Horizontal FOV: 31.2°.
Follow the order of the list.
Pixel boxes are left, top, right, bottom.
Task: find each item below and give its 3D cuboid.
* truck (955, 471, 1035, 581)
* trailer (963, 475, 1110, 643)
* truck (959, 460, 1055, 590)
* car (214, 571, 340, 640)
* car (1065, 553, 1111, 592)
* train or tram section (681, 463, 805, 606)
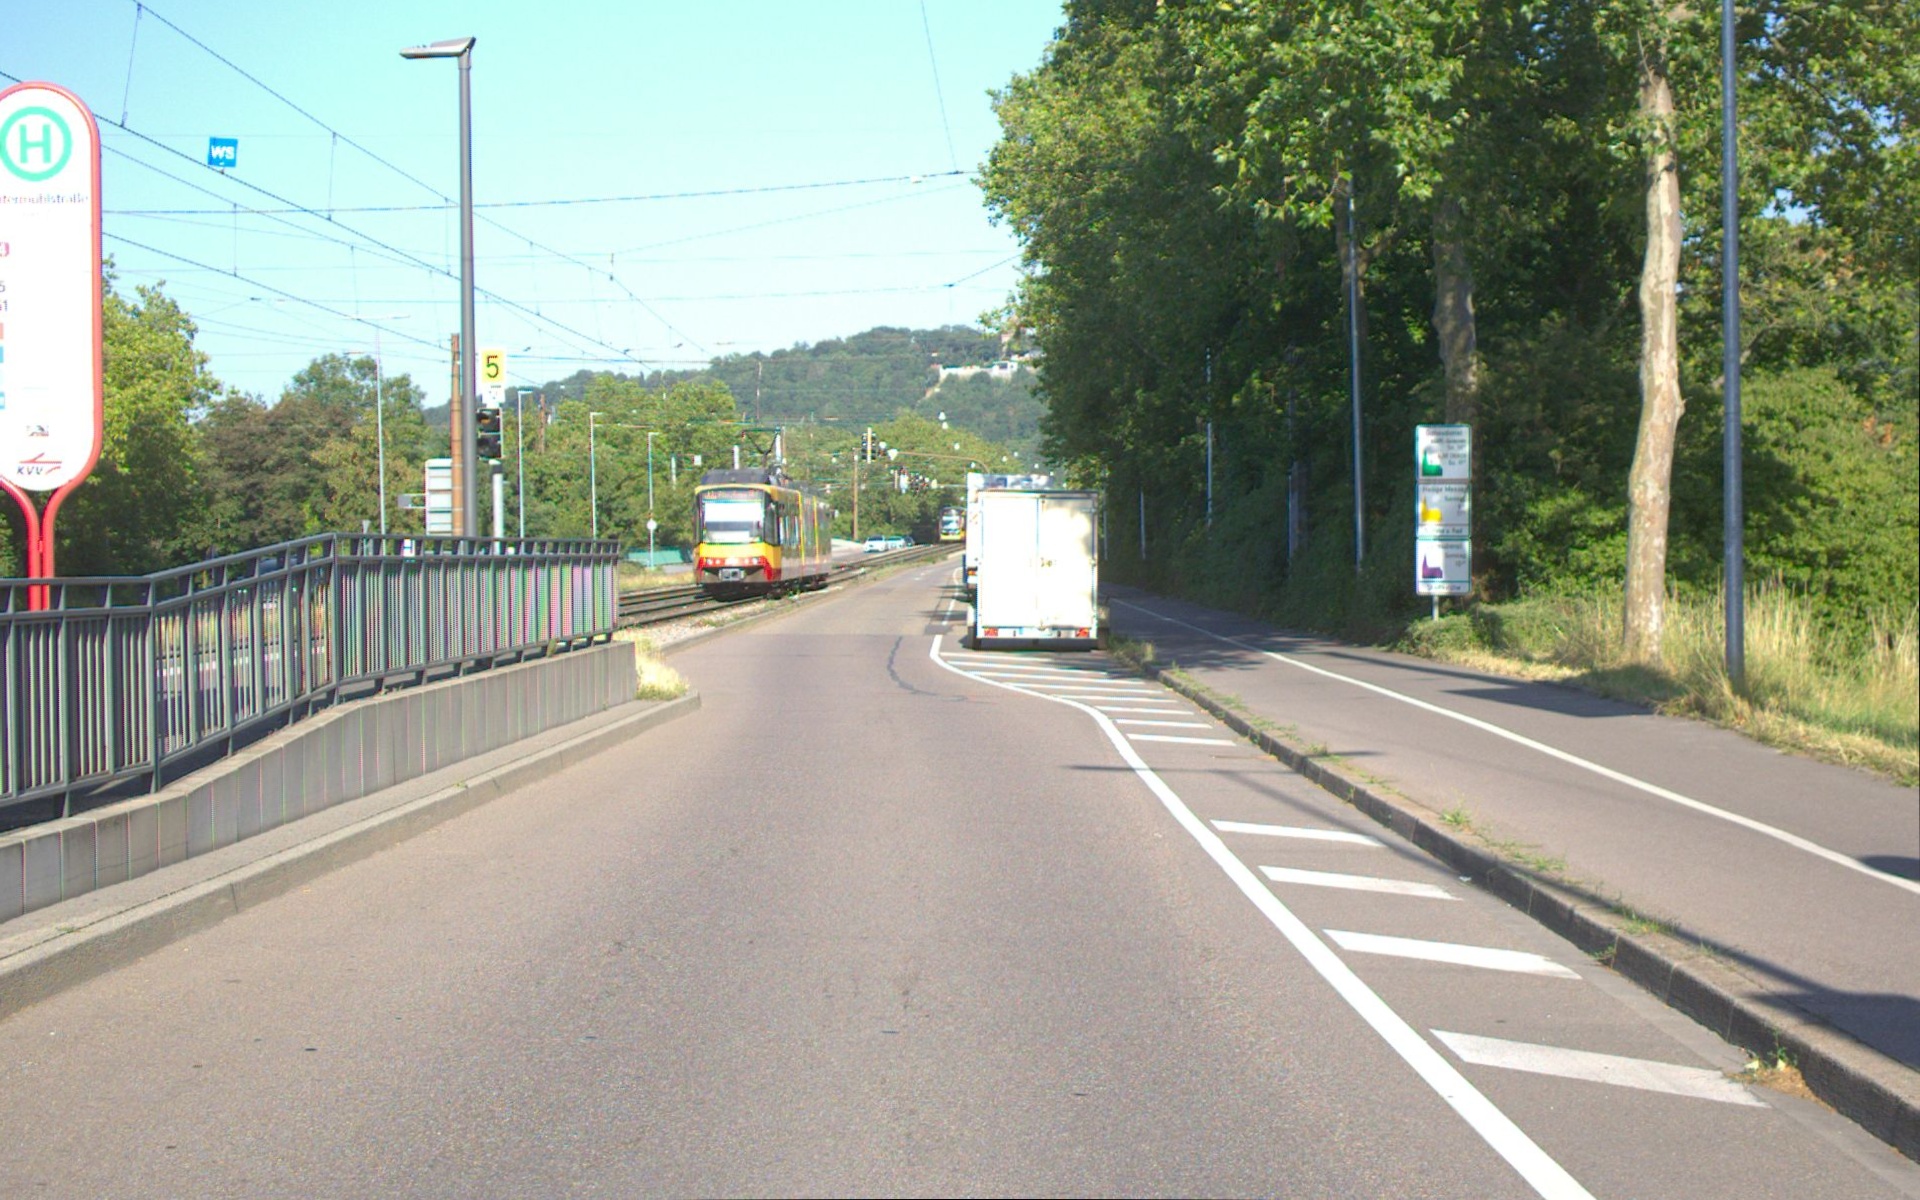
[{"bbox_3d":[1.214,-2.678,124.838,2.717,3.770,9.762,1,1,0],"label":"truck"},{"bbox_3d":[1.350,-0.710,57.903,2.251,2.685,5.946,0,1,3],"label":"trailer"},{"bbox_3d":[1.388,-2.281,105.805,2.742,3.770,10.090,1,1,0],"label":"truck"},{"bbox_3d":[-16.013,0.110,80.838,1.993,1.556,4.543,0,1,1],"label":"car"},{"bbox_3d":[4.706,-1.022,126.954,1.653,1.432,3.777,0,1,2],"label":"car"},{"bbox_3d":[-6.621,-2.023,106.697,2.721,4.077,13.615,-1,1,1],"label":"train or tram section"}]
